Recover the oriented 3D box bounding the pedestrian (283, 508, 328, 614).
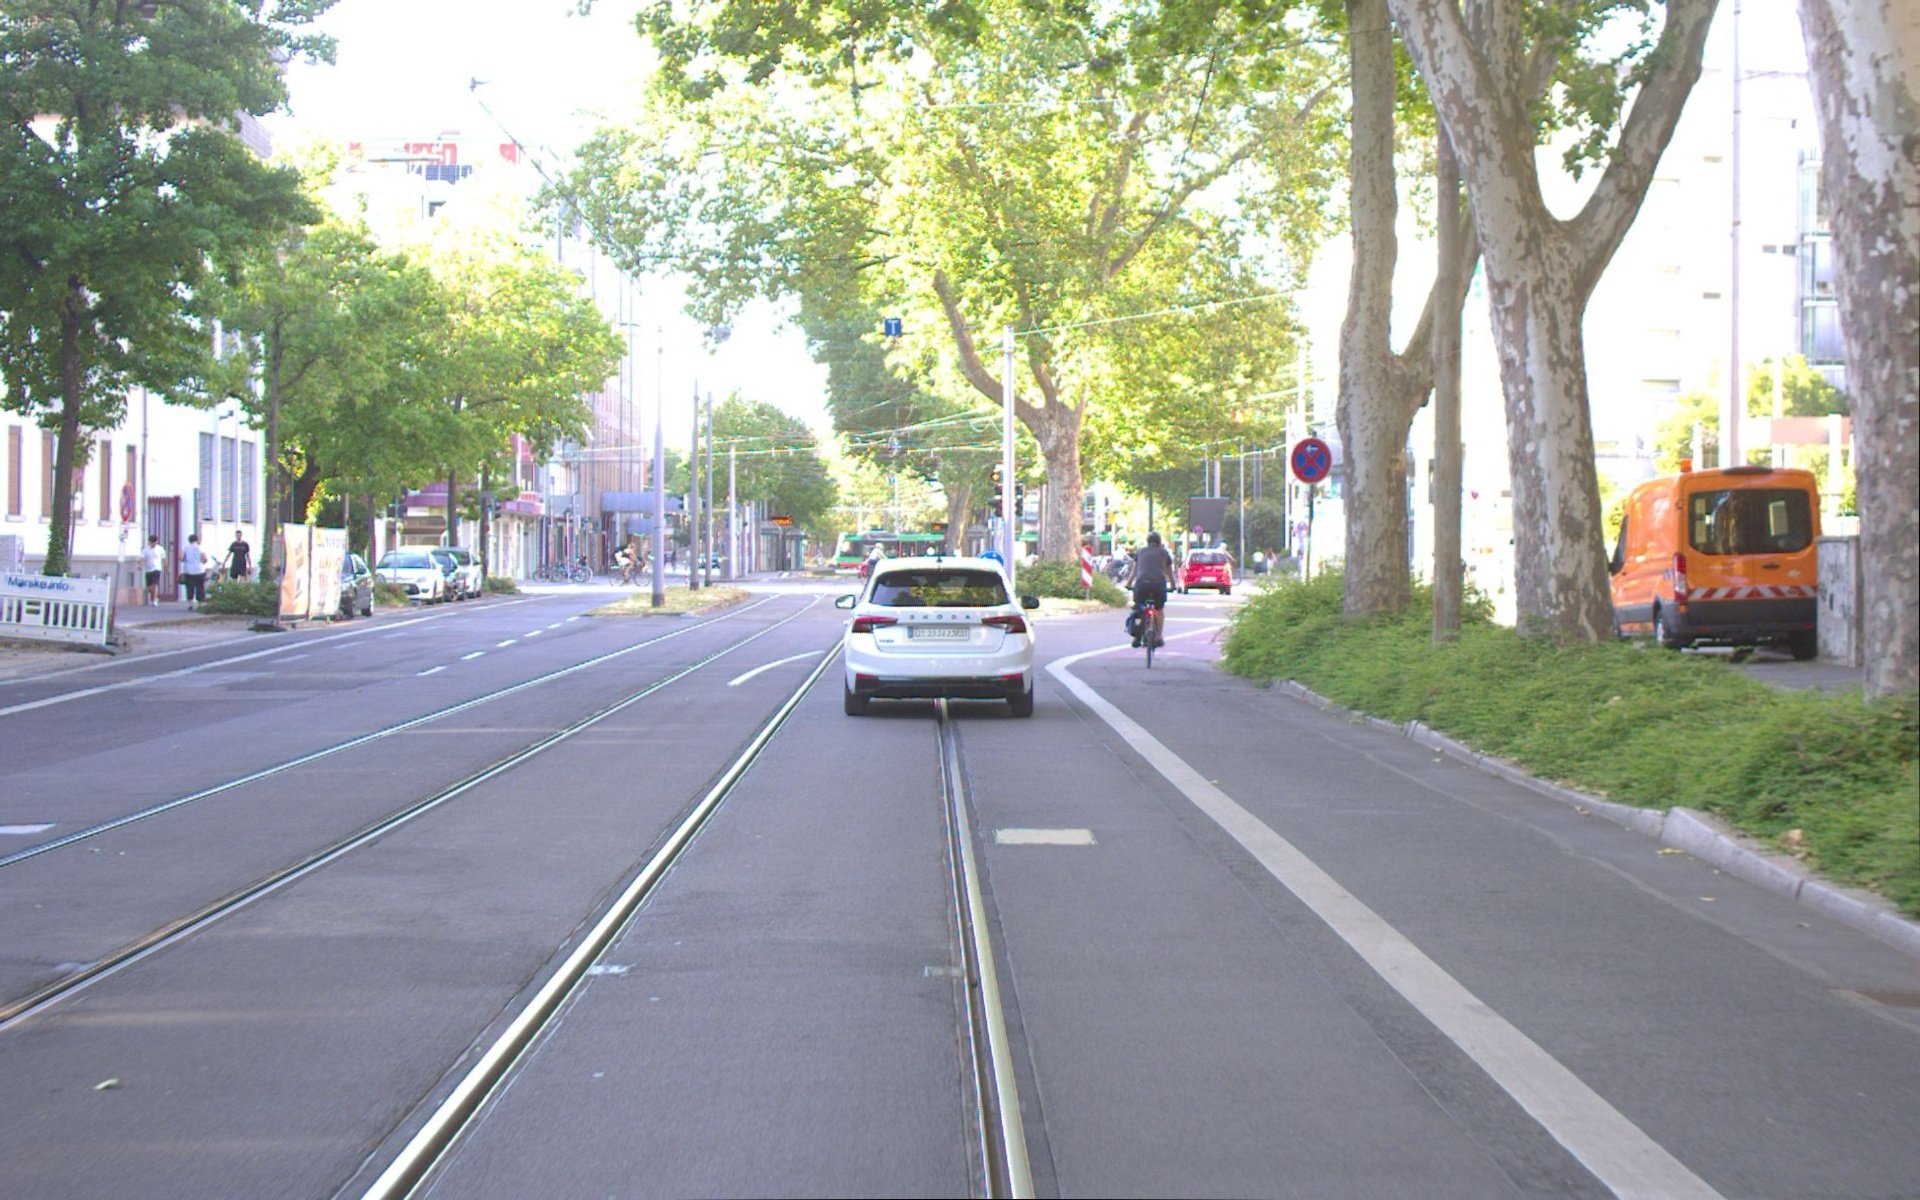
[{"bbox_3d":[-12.493,-0.743,65.594,0.646,1.996,0.749,1,1,3],"label":"pedestrian"}]

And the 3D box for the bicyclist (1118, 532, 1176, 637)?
[{"bbox_3d":[2.429,-0.203,44.725,0.679,1.334,0.525,2,1,-2],"label":"bicyclist"}]

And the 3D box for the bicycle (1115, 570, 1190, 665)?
[{"bbox_3d":[2.464,0.204,44.307,0.680,1.151,2.964,2,1,-2],"label":"bicycle"}]

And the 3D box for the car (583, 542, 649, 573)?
[{"bbox_3d":[-21.479,-2.649,214.686,3.794,1.812,1.803,2,1,5],"label":"car"}]

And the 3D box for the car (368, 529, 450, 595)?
[{"bbox_3d":[-15.065,-1.054,94.106,1.793,1.720,3.785,1,1,-3],"label":"car"}]

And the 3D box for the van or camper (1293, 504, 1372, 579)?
[{"bbox_3d":[12.046,-1.878,111.456,1.993,2.335,4.000,2,1,-1],"label":"van or camper"}]

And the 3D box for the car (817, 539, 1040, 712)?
[{"bbox_3d":[-0.355,0.198,32.058,1.842,1.475,3.839,1,1,-4],"label":"car"}]

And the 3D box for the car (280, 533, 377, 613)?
[{"bbox_3d":[-14.155,-0.632,77.234,1.641,1.720,3.785,1,1,-3],"label":"car"}]

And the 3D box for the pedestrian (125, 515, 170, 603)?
[{"bbox_3d":[-18.750,-0.946,79.372,0.748,1.996,0.647,2,1,37],"label":"pedestrian"}]

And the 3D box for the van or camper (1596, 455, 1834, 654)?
[{"bbox_3d":[10.002,-0.611,45.949,2.027,2.455,5.108,2,1,0],"label":"van or camper"}]

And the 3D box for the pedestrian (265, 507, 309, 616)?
[{"bbox_3d":[-12.445,-0.715,63.569,0.601,1.996,0.749,1,1,3],"label":"pedestrian"}]

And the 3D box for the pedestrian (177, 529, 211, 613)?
[{"bbox_3d":[-16.359,-0.626,73.414,0.600,1.766,0.701,2,1,-7],"label":"pedestrian"}]

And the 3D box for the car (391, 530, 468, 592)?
[{"bbox_3d":[-15.369,-1.138,99.683,1.793,1.720,3.785,1,1,-3],"label":"car"}]

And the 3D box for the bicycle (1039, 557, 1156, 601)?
[{"bbox_3d":[3.371,-0.527,84.268,2.771,0.996,0.592,2,1,13],"label":"bicycle"}]

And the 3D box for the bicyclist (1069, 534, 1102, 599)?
[{"bbox_3d":[3.075,-0.821,84.310,0.737,1.583,0.586,0,1,11],"label":"bicyclist"}]
